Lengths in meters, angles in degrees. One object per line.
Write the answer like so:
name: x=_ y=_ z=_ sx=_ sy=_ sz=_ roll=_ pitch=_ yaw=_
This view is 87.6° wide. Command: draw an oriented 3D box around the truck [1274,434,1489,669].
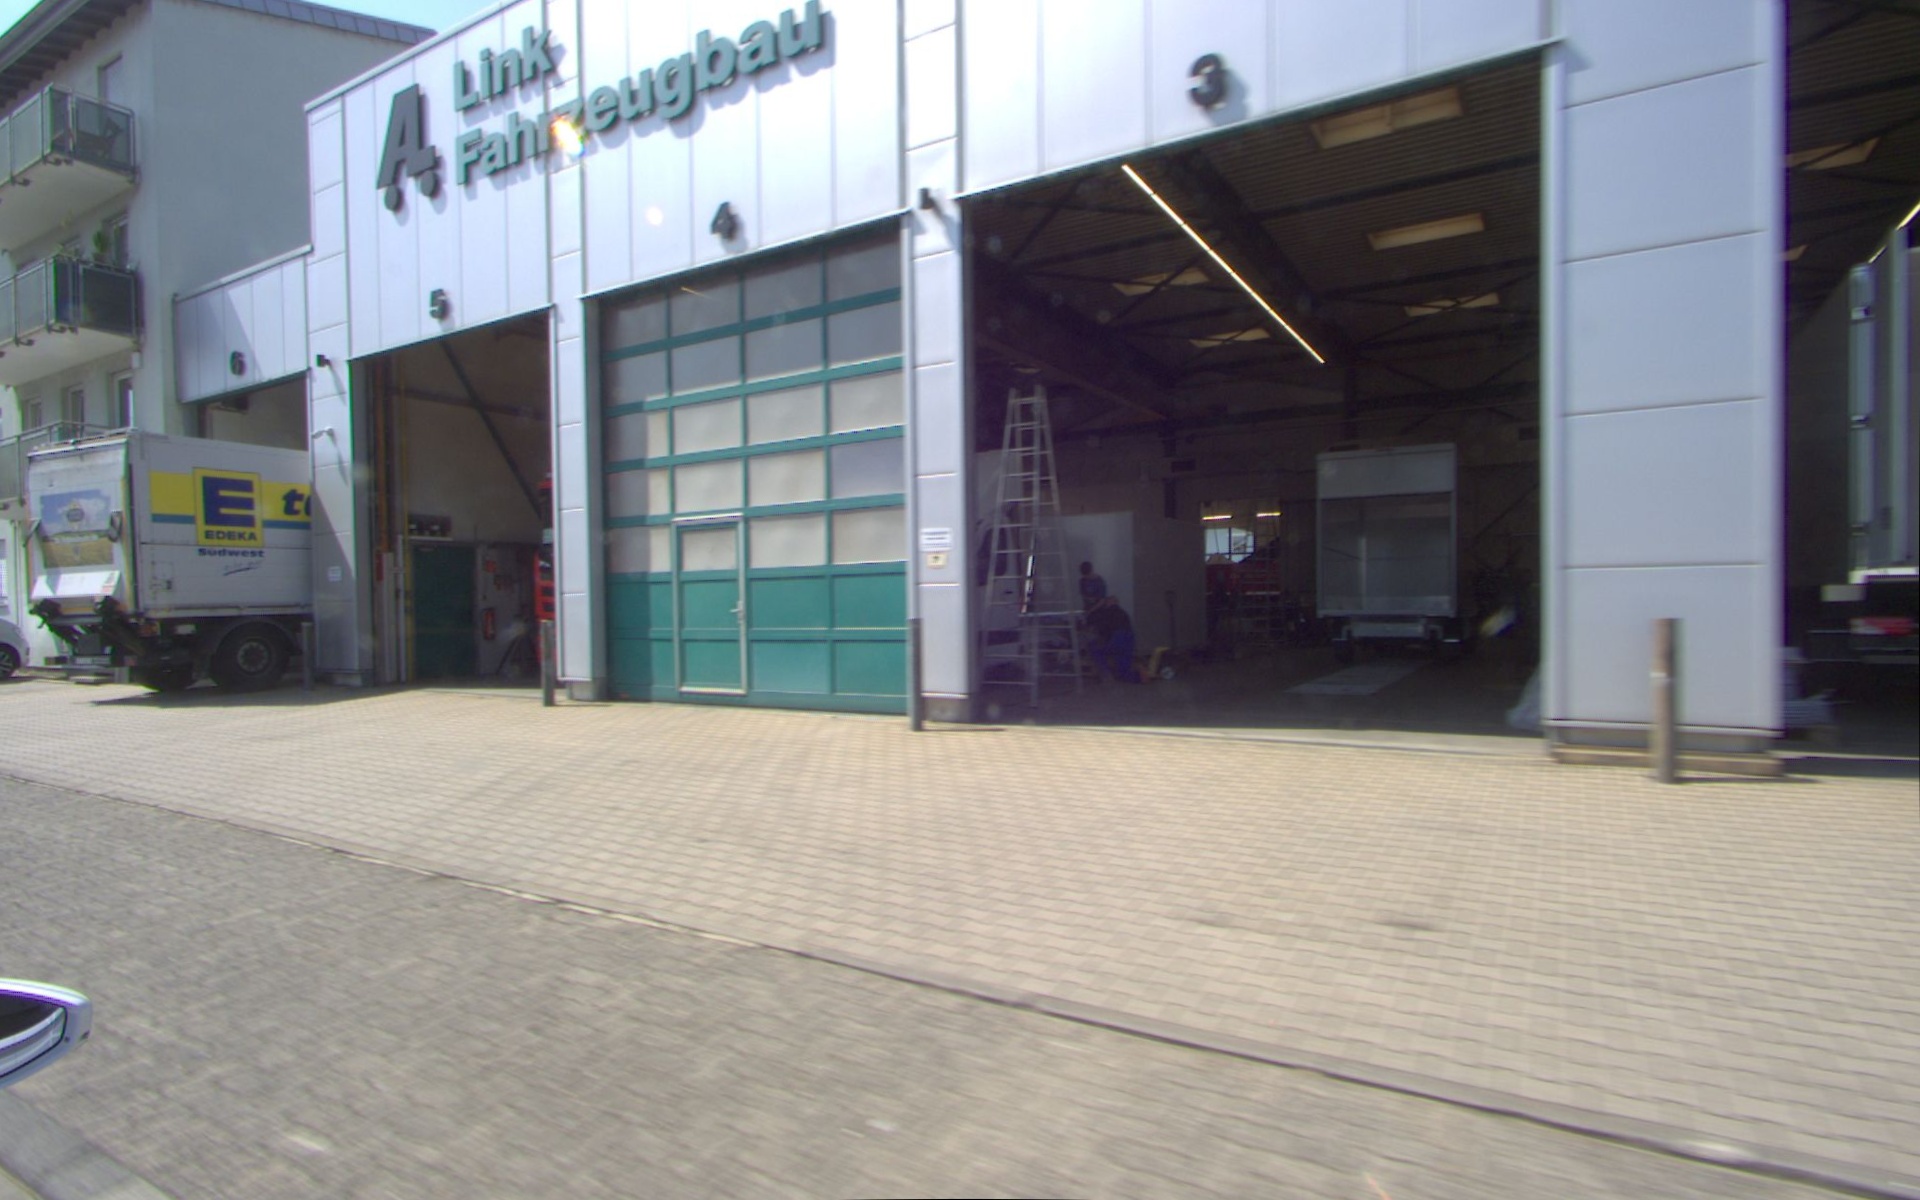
truck: x=8.214 y=-0.766 z=18.864 sx=2.728 sy=3.505 sz=7.538 roll=0 pitch=1 yaw=31

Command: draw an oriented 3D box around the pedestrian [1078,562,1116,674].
pedestrian: x=2.025 y=0.273 z=14.825 sx=0.543 sy=1.630 sz=0.593 roll=0 pitch=-1 yaw=7

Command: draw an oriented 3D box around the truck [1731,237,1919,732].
truck: x=10.296 y=-0.961 z=10.581 sx=2.587 sy=3.833 sz=7.818 roll=0 pitch=1 yaw=32

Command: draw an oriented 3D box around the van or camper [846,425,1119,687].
van or camper: x=0.577 y=-0.525 z=15.145 sx=1.970 sy=3.248 sz=5.036 roll=-1 pitch=0 yaw=29

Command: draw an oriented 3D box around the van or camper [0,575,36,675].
van or camper: x=-19.844 y=0.504 z=17.932 sx=1.962 sy=1.933 sz=4.552 roll=0 pitch=0 yaw=11

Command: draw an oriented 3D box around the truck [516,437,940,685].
truck: x=-3.580 y=-0.582 z=17.933 sx=2.444 sy=3.450 sz=7.932 roll=-1 pitch=1 yaw=32

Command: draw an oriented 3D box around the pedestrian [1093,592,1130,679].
pedestrian: x=2.120 y=0.501 z=13.969 sx=0.486 sy=1.185 sz=0.612 roll=0 pitch=-1 yaw=10

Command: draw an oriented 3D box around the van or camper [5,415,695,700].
van or camper: x=-9.968 y=-0.694 z=19.051 sx=2.735 sy=3.743 sz=11.596 roll=0 pitch=1 yaw=24
